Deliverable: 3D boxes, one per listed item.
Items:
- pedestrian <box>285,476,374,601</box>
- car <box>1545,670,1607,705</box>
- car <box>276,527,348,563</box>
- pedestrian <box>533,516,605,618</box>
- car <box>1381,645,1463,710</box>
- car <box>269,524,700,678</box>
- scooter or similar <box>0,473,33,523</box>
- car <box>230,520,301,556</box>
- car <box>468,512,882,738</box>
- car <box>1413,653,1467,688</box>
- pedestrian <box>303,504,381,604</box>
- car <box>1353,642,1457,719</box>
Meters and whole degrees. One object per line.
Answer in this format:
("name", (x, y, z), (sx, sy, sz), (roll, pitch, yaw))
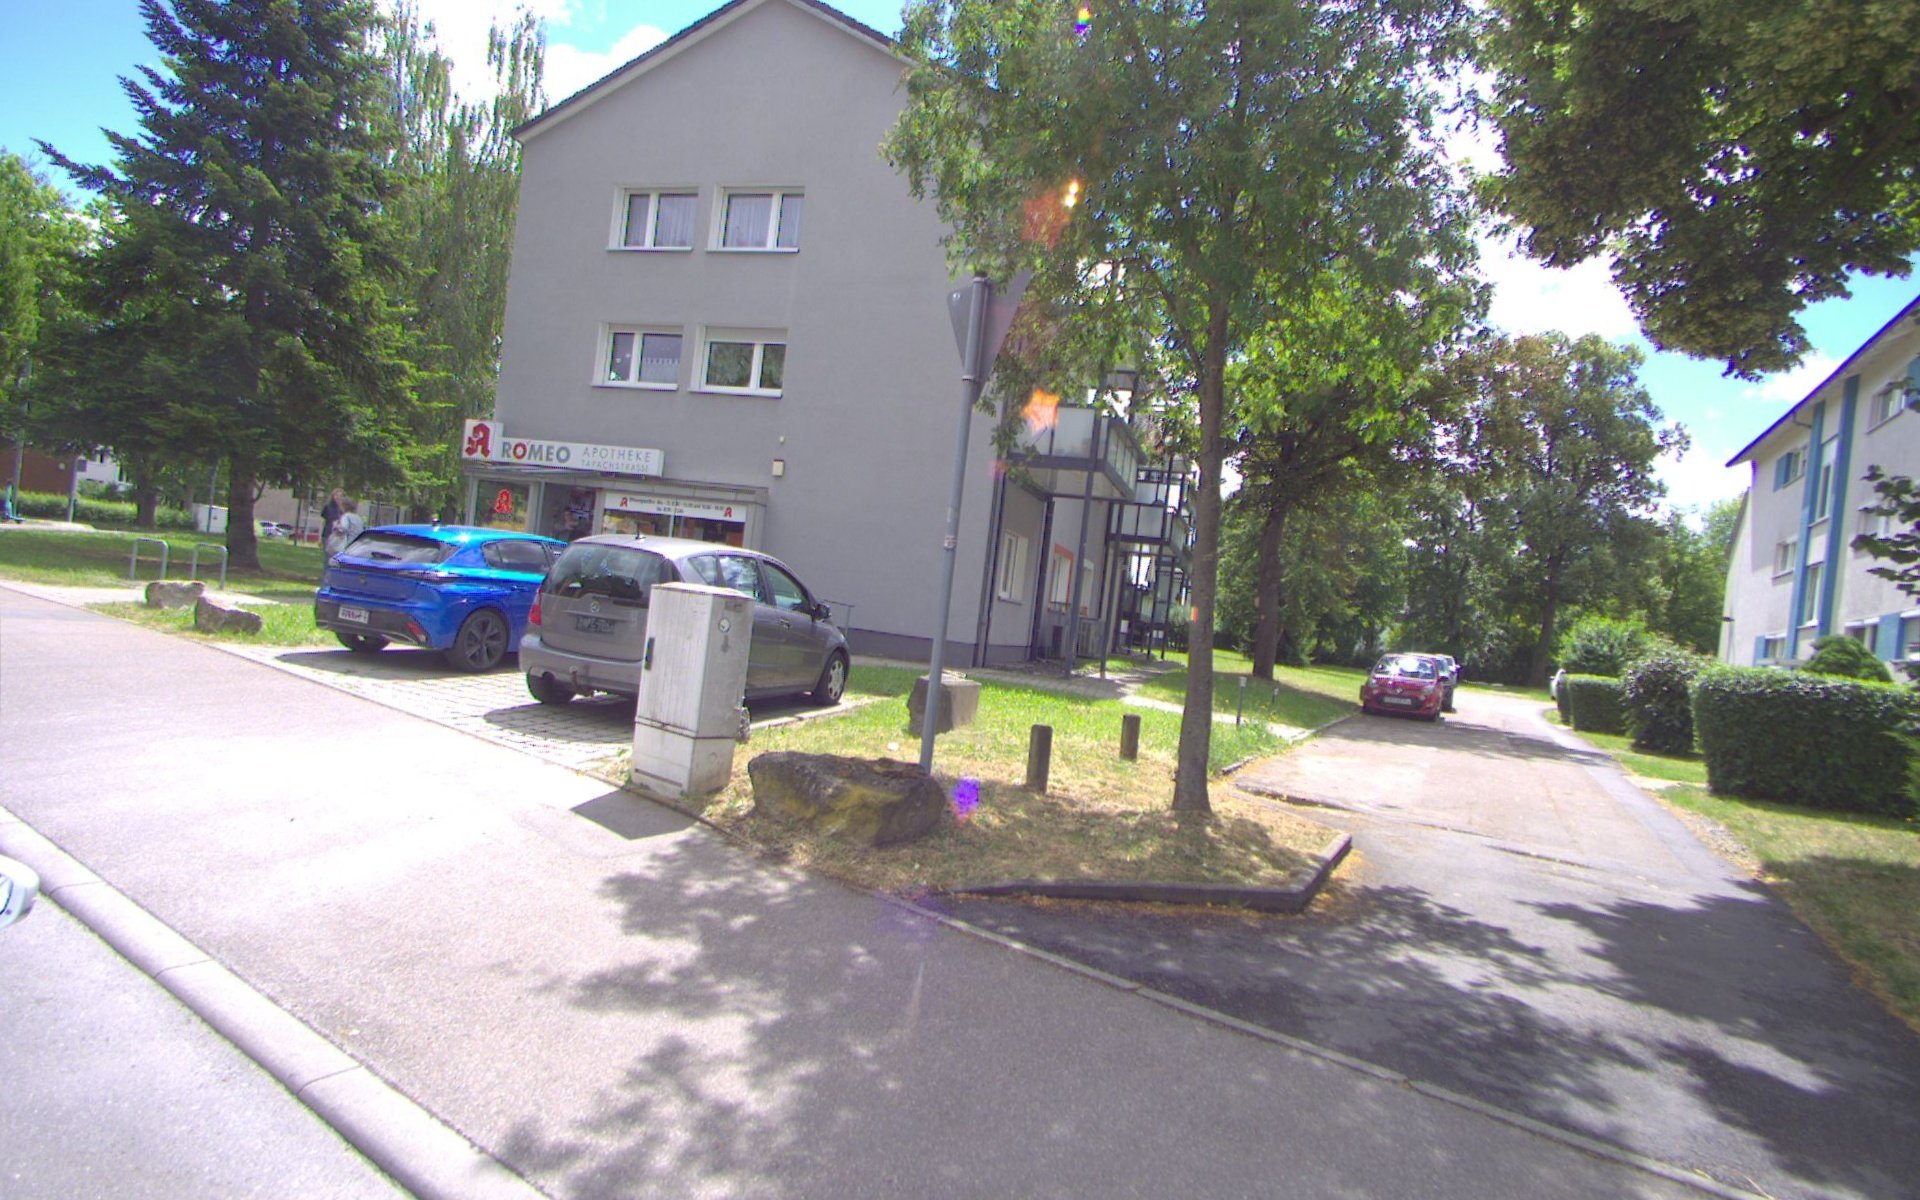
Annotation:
("pedestrian", (-10.993, -1.060, 17.550), (1.027, 2.039, 0.655), (7, 1, 18))
("car", (28.954, 4.147, 47.378), (1.965, 1.328, 3.999), (7, -2, 26))
("car", (-46.329, -3.916, 71.935), (3.924, 1.964, 2.020), (7, -1, 15))
("pedestrian", (-8.170, -0.675, 21.051), (0.924, 1.981, 0.842), (7, 1, 11))
("car", (13.577, 2.246, 29.505), (1.884, 1.522, 3.996), (7, 0, 26))
("car", (-5.204, -0.009, 11.816), (1.962, 1.260, 4.493), (7, 2, 18))
("scooter or similar", (-27.038, -2.898, 28.580), (0.479, 1.360, 1.381), (6, 2, -22))
("car", (-50.441, -4.466, 73.076), (3.924, 1.964, 2.002), (7, -1, 15))
("car", (-2.509, 0.191, 9.865), (1.994, 1.577, 3.737), (7, 2, 20))
("car", (23.950, 3.551, 50.122), (1.966, 1.328, 3.996), (7, -2, 31))
("pedestrian", (-10.320, -0.761, 16.810), (0.678, 1.549, 0.744), (7, 1, 22))
("car", (10.900, 2.003, 24.513), (1.702, 1.520, 3.877), (7, -2, 31))
